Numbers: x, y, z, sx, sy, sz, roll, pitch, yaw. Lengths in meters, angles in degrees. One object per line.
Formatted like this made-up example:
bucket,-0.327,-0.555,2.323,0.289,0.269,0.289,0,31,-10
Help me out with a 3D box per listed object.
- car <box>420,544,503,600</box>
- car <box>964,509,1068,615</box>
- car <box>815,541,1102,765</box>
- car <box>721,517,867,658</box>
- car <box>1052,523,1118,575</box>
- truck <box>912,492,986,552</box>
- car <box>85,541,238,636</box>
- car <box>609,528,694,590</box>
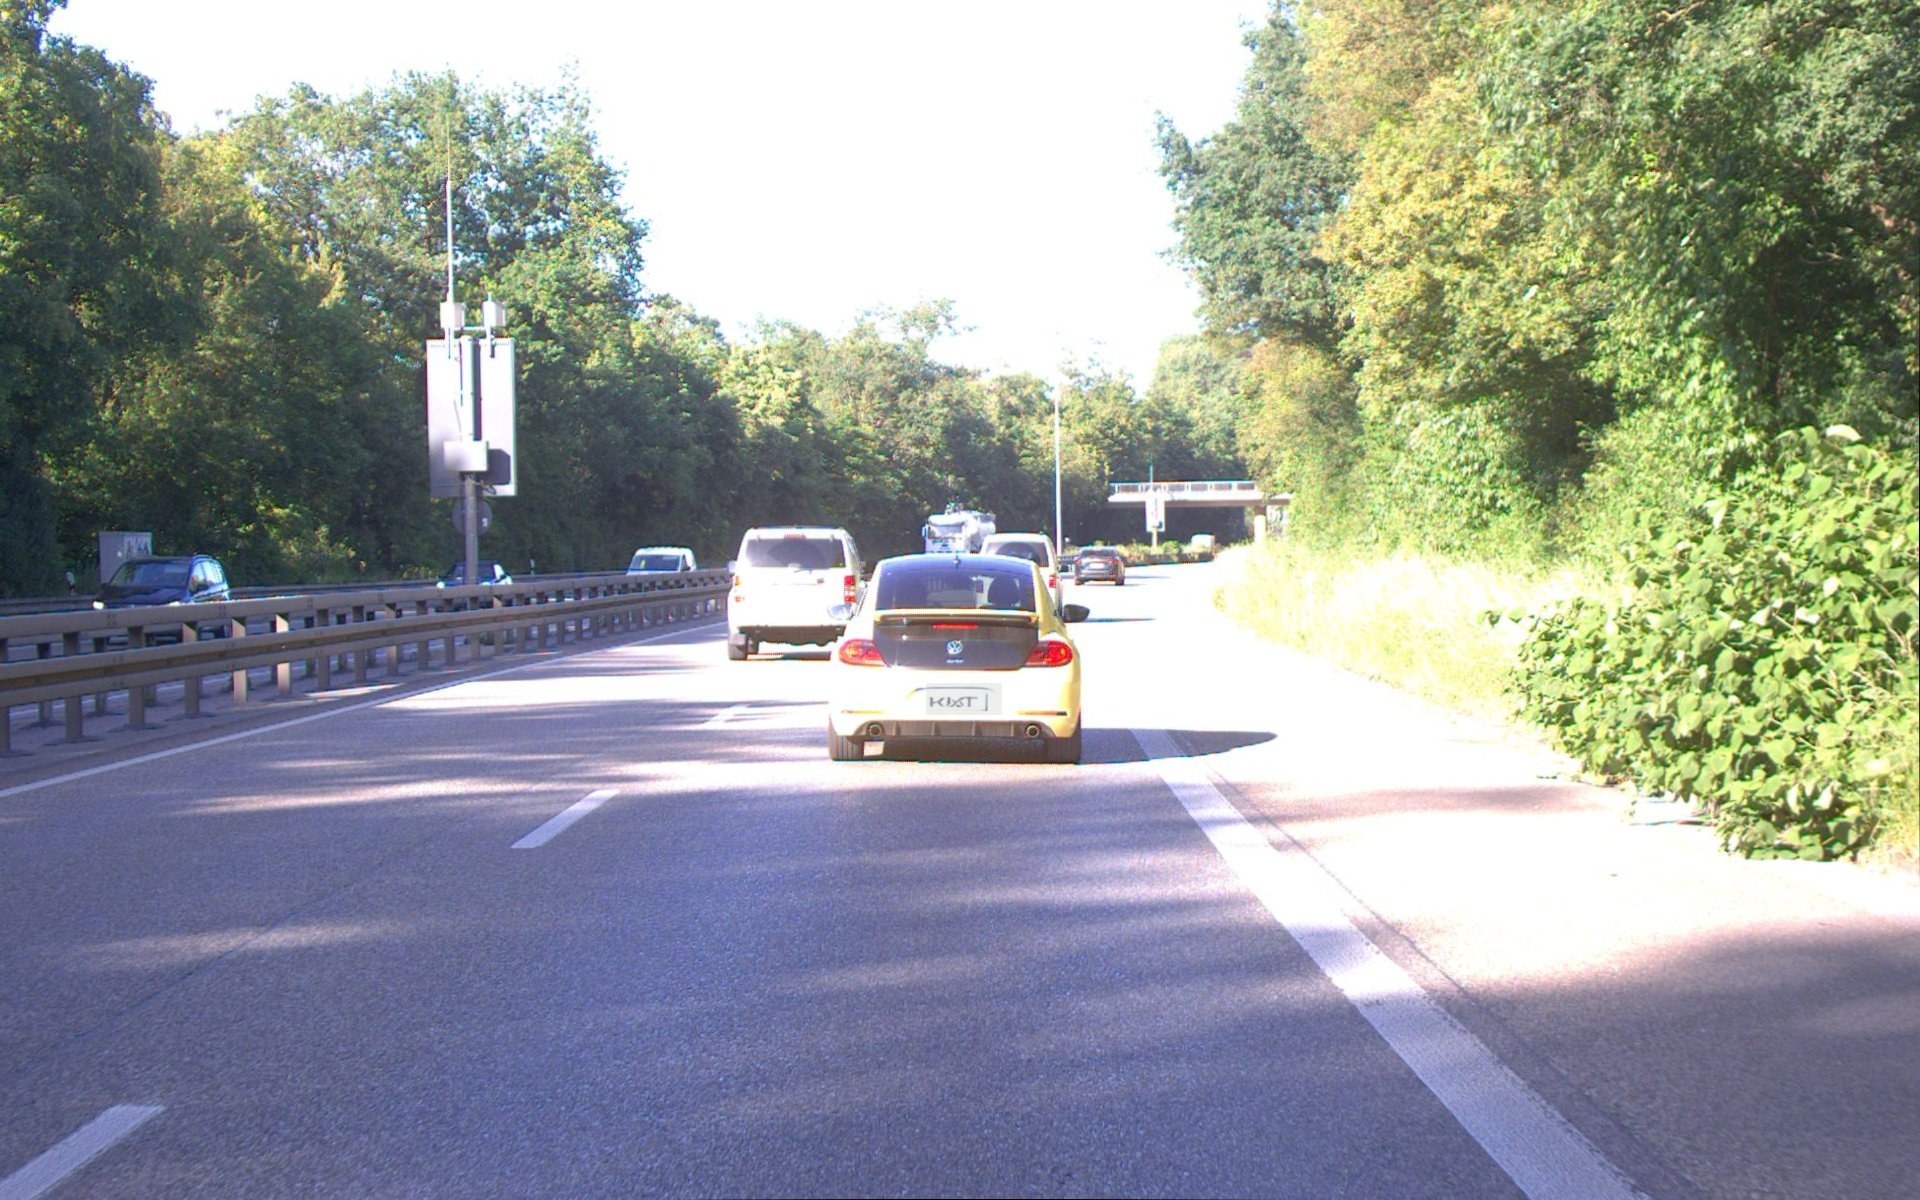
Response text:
car,-13.791,-0.799,95.253,1.597,1.475,3.910,-1,1,2
car,1.156,-0.794,70.153,1.993,2.007,4.000,-2,1,1
car,-0.071,0.332,25.075,1.939,1.503,3.423,0,1,-2
car,-2.210,-0.197,46.494,1.741,1.823,3.422,0,1,1
car,4.824,-1.970,131.943,2.263,1.869,5.076,-2,1,4
truck,-0.596,-4.871,213.122,2.889,3.508,11.949,-2,1,7
car,-15.048,-0.251,65.037,1.597,1.633,4.675,-2,1,2
car,-9.608,-1.296,107.344,1.993,1.782,5.028,-2,1,2
